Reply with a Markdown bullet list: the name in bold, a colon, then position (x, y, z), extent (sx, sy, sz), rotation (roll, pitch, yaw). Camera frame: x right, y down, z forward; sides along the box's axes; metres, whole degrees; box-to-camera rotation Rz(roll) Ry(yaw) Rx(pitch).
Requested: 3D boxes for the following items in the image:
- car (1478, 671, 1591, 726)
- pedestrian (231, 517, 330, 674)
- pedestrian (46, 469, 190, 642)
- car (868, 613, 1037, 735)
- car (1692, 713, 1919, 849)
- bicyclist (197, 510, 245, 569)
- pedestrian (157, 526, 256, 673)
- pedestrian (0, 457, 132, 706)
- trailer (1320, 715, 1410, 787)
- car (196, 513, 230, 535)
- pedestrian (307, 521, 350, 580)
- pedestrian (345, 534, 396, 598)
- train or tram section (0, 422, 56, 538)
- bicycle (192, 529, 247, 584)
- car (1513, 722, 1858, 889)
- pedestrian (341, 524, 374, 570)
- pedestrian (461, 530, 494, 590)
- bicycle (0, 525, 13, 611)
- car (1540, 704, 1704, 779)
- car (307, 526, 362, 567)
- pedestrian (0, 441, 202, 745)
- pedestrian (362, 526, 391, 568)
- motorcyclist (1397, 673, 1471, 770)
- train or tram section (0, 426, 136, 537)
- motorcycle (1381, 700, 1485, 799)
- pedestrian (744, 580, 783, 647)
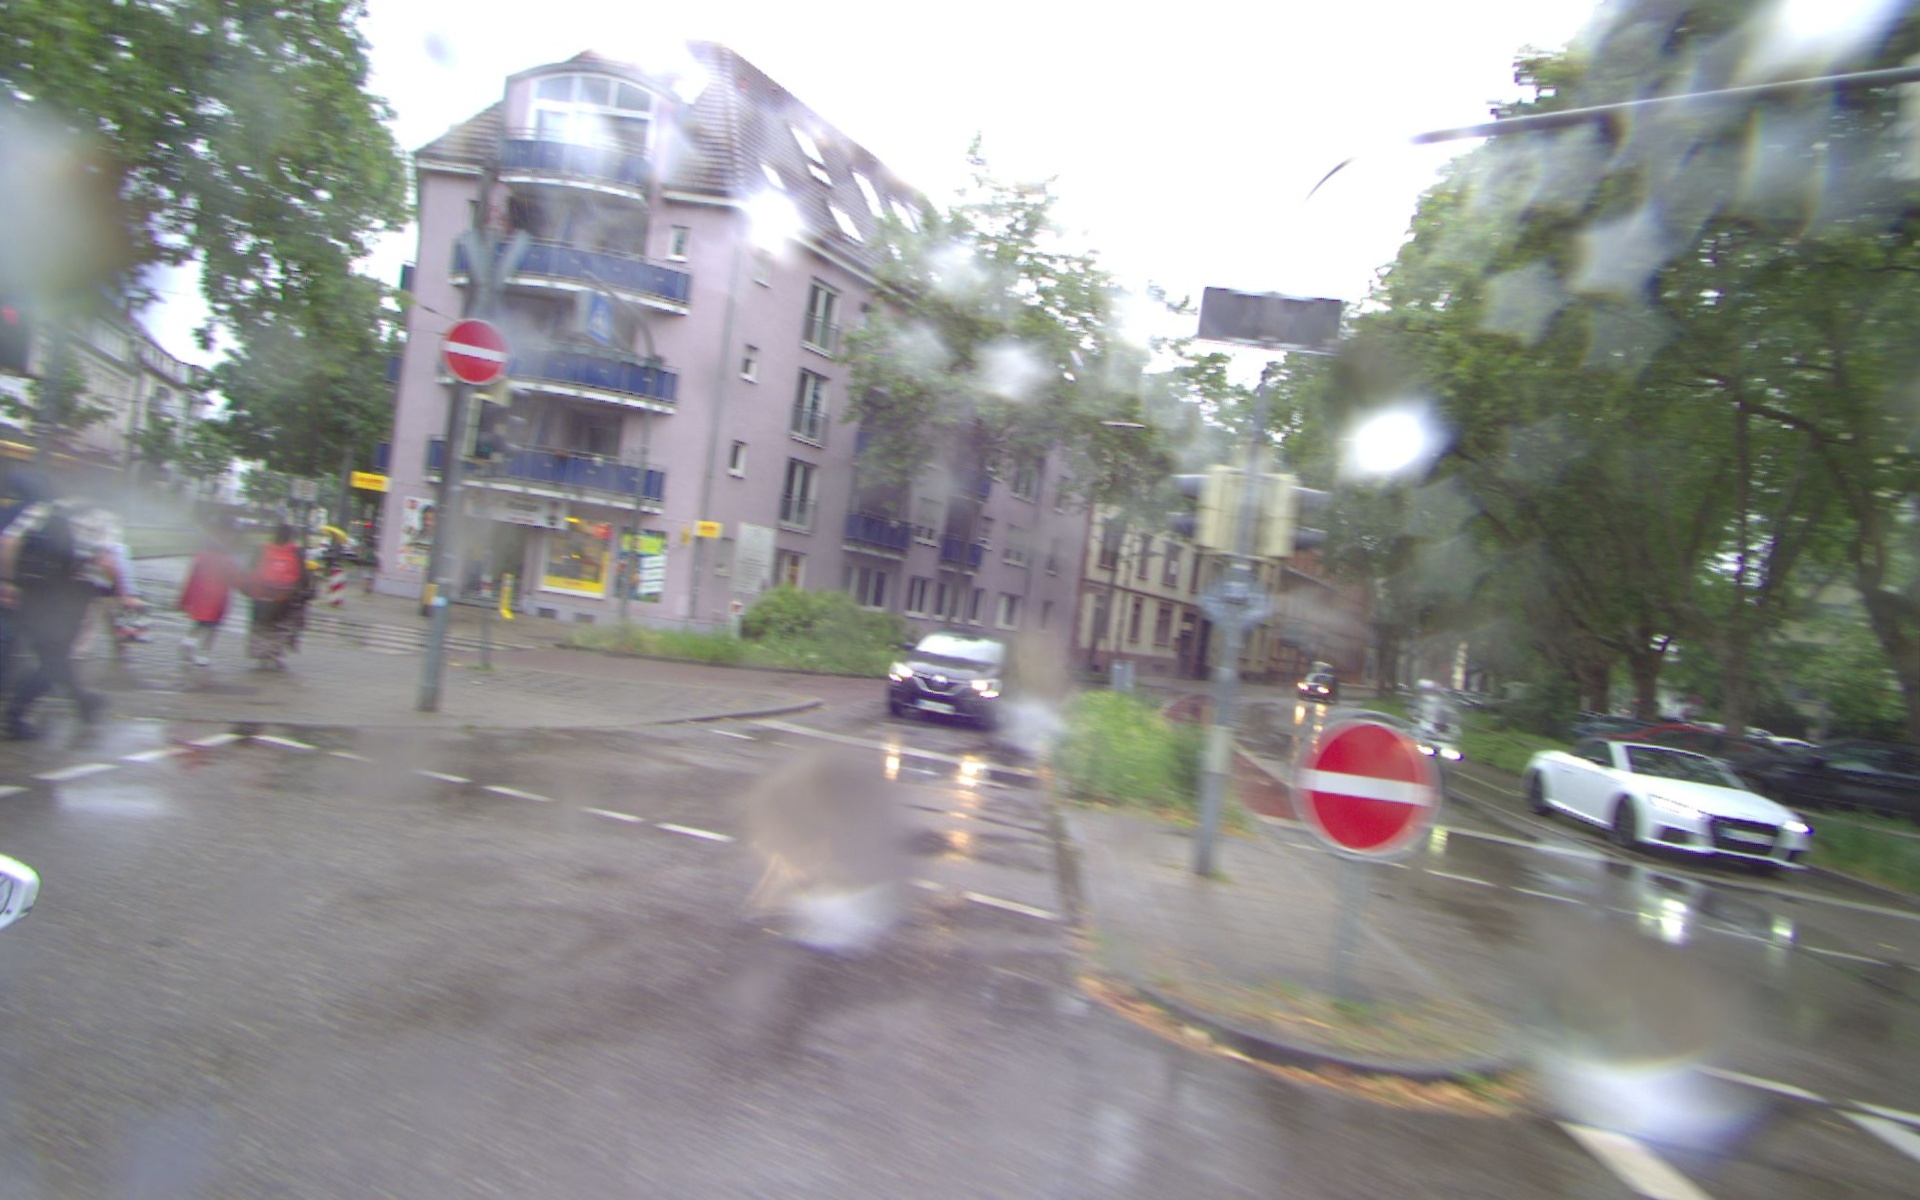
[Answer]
- **car**: position (34.908, 5.958, 61.381), extent (2.205, 2.429, 5.575), rotation (8, -1, -23)
- **pedestrian**: position (-7.303, -0.052, 10.807), extent (0.687, 1.567, 0.753), rotation (7, 1, -39)
- **pedestrian**: position (-8.398, -0.445, 10.088), extent (0.870, 1.544, 1.054), rotation (7, 1, -35)
- **car**: position (0.036, 1.144, 16.596), extent (1.957, 1.478, 4.181), rotation (8, -1, 9)
- **car**: position (15.378, 3.146, 17.039), extent (4.539, 1.684, 1.867), rotation (7, -1, 42)
- **bicyclist**: position (-18.176, -1.485, 24.762), extent (0.735, 1.326, 1.068), rotation (7, 1, -32)
- **pedestrian**: position (-7.894, -0.020, 10.576), extent (0.667, 1.399, 1.001), rotation (7, 1, -35)
- **pedestrian**: position (-7.024, -0.178, 7.294), extent (0.978, 1.707, 1.056), rotation (8, 1, 2)
- **trailer**: position (6.408, 2.377, 16.025), extent (1.007, 0.852, 1.484), rotation (8, -1, 13)
- **car**: position (-66.218, -6.737, 89.257), extent (1.981, 1.551, 3.966), rotation (8, -1, -32)
- **pedestrian**: position (-20.116, -1.572, 32.050), extent (0.945, 1.718, 0.914), rotation (7, 1, -30)
- **pedestrian**: position (-15.758, -0.912, 26.913), extent (0.983, 1.578, 0.778), rotation (7, 0, -28)
- **train or tram section**: position (-30.075, -3.788, 29.776), extent (2.616, 3.391, 8.318), rotation (8, -1, -28)
- **bicycle**: position (-18.179, -1.083, 24.736), extent (0.745, 1.188, 2.025), rotation (7, 1, -29)
- **car**: position (9.390, 2.578, 13.535), extent (1.867, 1.290, 4.176), rotation (8, -1, 7)
- **pedestrian**: position (-24.307, -2.137, 40.580), extent (0.911, 1.718, 0.949), rotation (7, 1, -28)
- **pedestrian**: position (-13.747, -1.121, 28.686), extent (0.464, 1.621, 0.593), rotation (8, 0, -3)
- **bicycle**: position (-12.457, -0.435, 12.199), extent (0.438, 1.089, 1.617), rotation (8, -1, -7)
- **car**: position (19.559, 4.140, 29.938), extent (3.777, 1.439, 1.883), rotation (8, 0, 30)
- **car**: position (-31.370, -2.695, 50.513), extent (1.978, 1.694, 3.970), rotation (8, 0, -29)
- **pedestrian**: position (-5.864, -0.060, 6.631), extent (0.797, 1.803, 0.994), rotation (8, 1, -1)
- **pedestrian**: position (-26.102, -2.366, 44.990), extent (0.911, 1.718, 0.948), rotation (7, 1, -29)
- **motorcyclist**: position (7.458, 1.896, 15.861), extent (0.743, 1.367, 0.755), rotation (8, 0, 12)
- **train or tram section**: position (-34.240, -4.306, 37.866), extent (2.616, 3.391, 9.918), rotation (8, -1, -27)
- **motorcycle**: position (7.400, 2.300, 15.857), extent (0.864, 1.229, 2.076), rotation (8, -1, 12)
- **pedestrian**: position (-5.660, 0.393, 28.991), extent (0.631, 1.826, 0.621), rotation (8, 1, 25)
